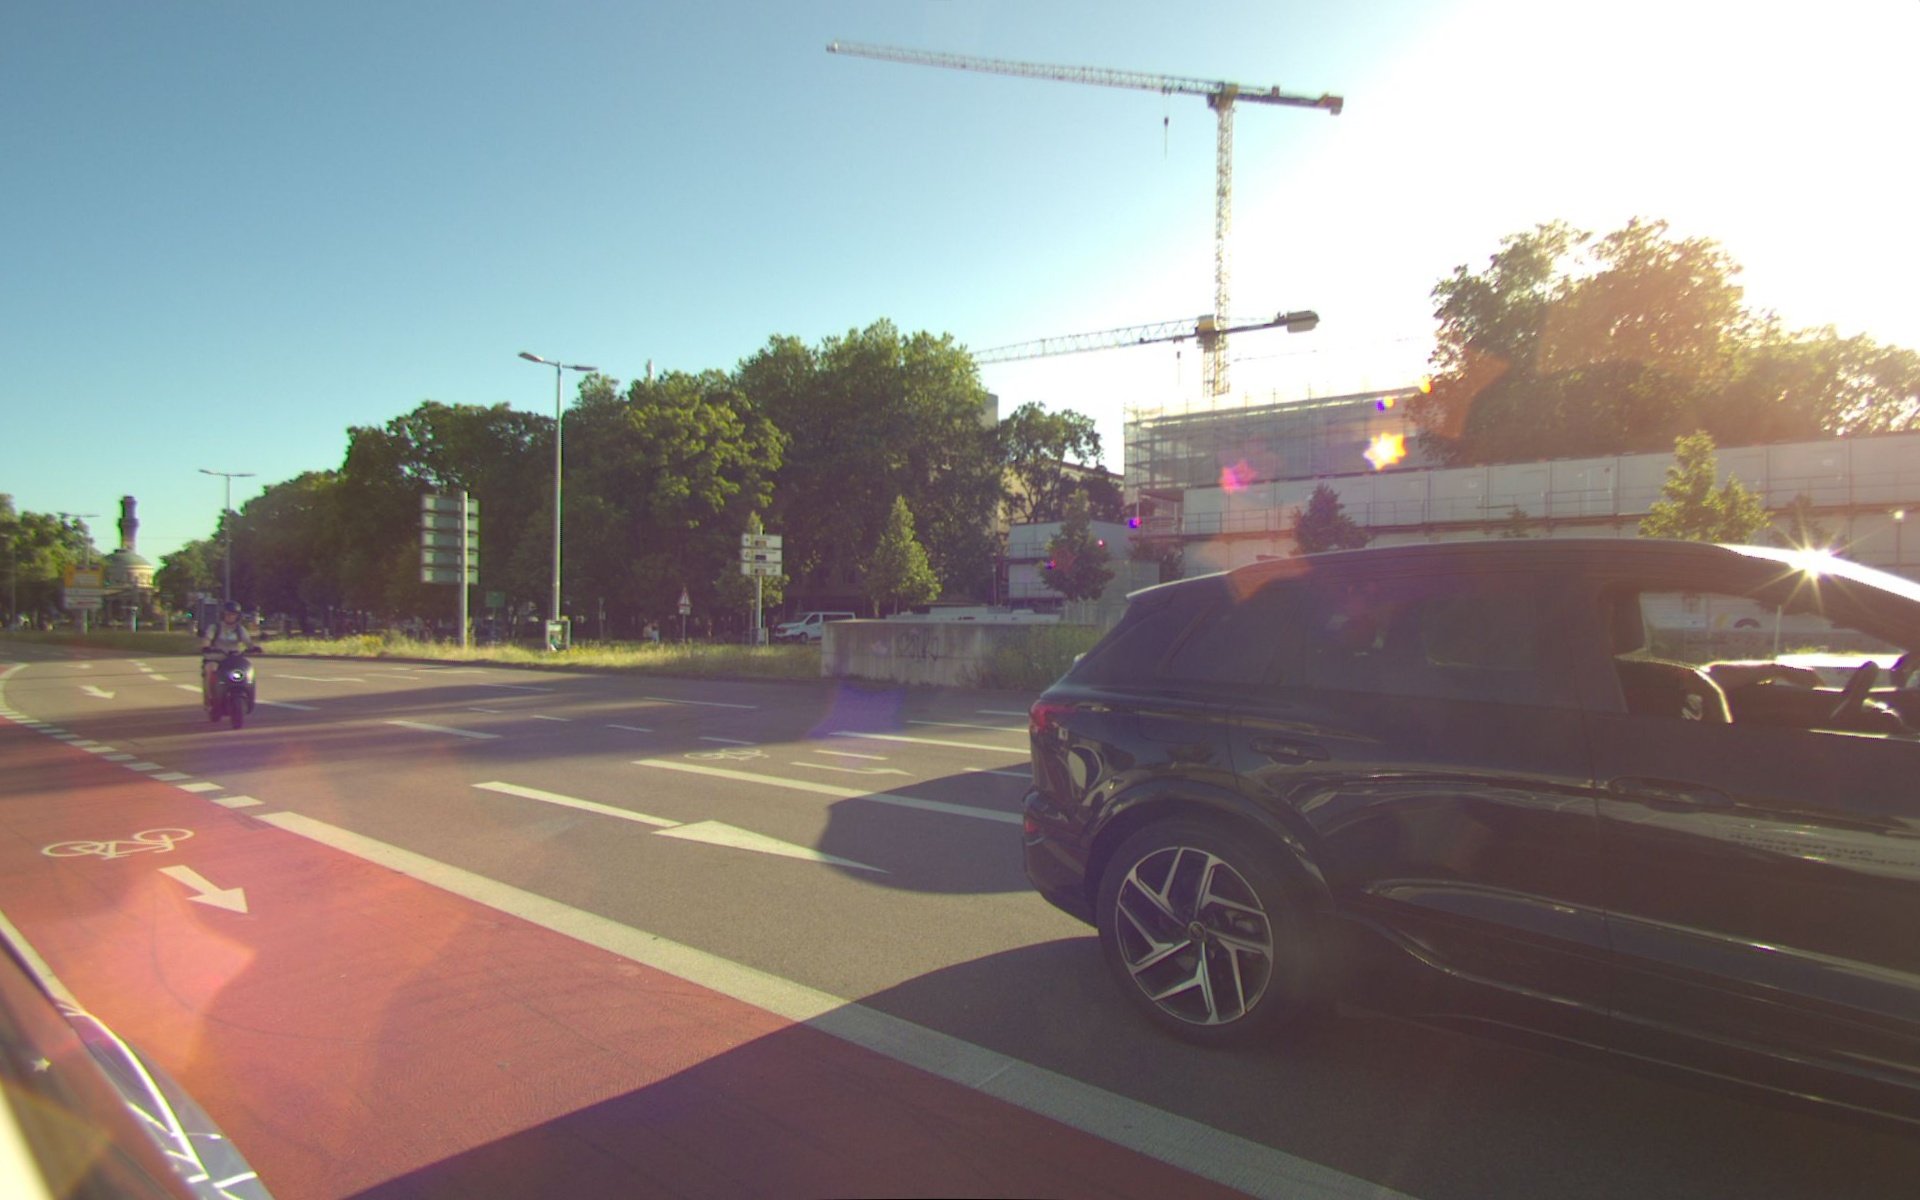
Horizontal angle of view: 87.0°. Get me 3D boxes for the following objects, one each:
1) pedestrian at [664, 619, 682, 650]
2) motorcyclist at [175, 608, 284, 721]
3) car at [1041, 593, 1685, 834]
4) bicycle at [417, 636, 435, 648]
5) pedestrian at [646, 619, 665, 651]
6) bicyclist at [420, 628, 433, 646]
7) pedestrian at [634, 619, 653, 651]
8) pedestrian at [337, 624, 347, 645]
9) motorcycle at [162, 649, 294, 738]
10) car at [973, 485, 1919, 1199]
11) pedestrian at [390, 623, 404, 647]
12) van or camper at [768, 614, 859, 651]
[{"bbox_3d":[-16.321,1.964,57.516,0.763,1.738,0.697,-2,-2,44],"label":"pedestrian"},{"bbox_3d":[-9.770,0.830,13.540,1.058,1.424,0.962,-1,-1,41],"label":"motorcyclist"},{"bbox_3d":[3.032,0.705,8.294,4.489,1.417,1.971,-1,0,44],"label":"car"},{"bbox_3d":[-39.795,3.123,75.445,1.744,0.849,0.602,-1,-2,40],"label":"bicycle"},{"bbox_3d":[-17.017,1.943,56.558,0.762,1.738,0.656,-1,-2,41],"label":"pedestrian"},{"bbox_3d":[-39.793,2.763,75.455,0.714,1.291,0.603,-1,-2,40],"label":"bicyclist"},{"bbox_3d":[-17.478,1.921,55.847,0.762,1.738,0.698,-1,-2,41],"label":"pedestrian"},{"bbox_3d":[-53.392,2.979,87.435,0.733,1.862,0.561,-1,-2,40],"label":"pedestrian"},{"bbox_3d":[-9.894,1.208,13.646,2.266,1.022,0.962,-1,-1,41],"label":"motorcycle"},{"bbox_3d":[2.434,0.594,3.117,4.611,1.656,1.913,-1,-1,39],"label":"car"},{"bbox_3d":[-44.068,2.743,79.187,0.924,1.862,0.620,-1,-2,40],"label":"pedestrian"},{"bbox_3d":[-8.926,1.952,61.948,1.948,2.029,5.576,-1,0,42],"label":"van or camper"}]
